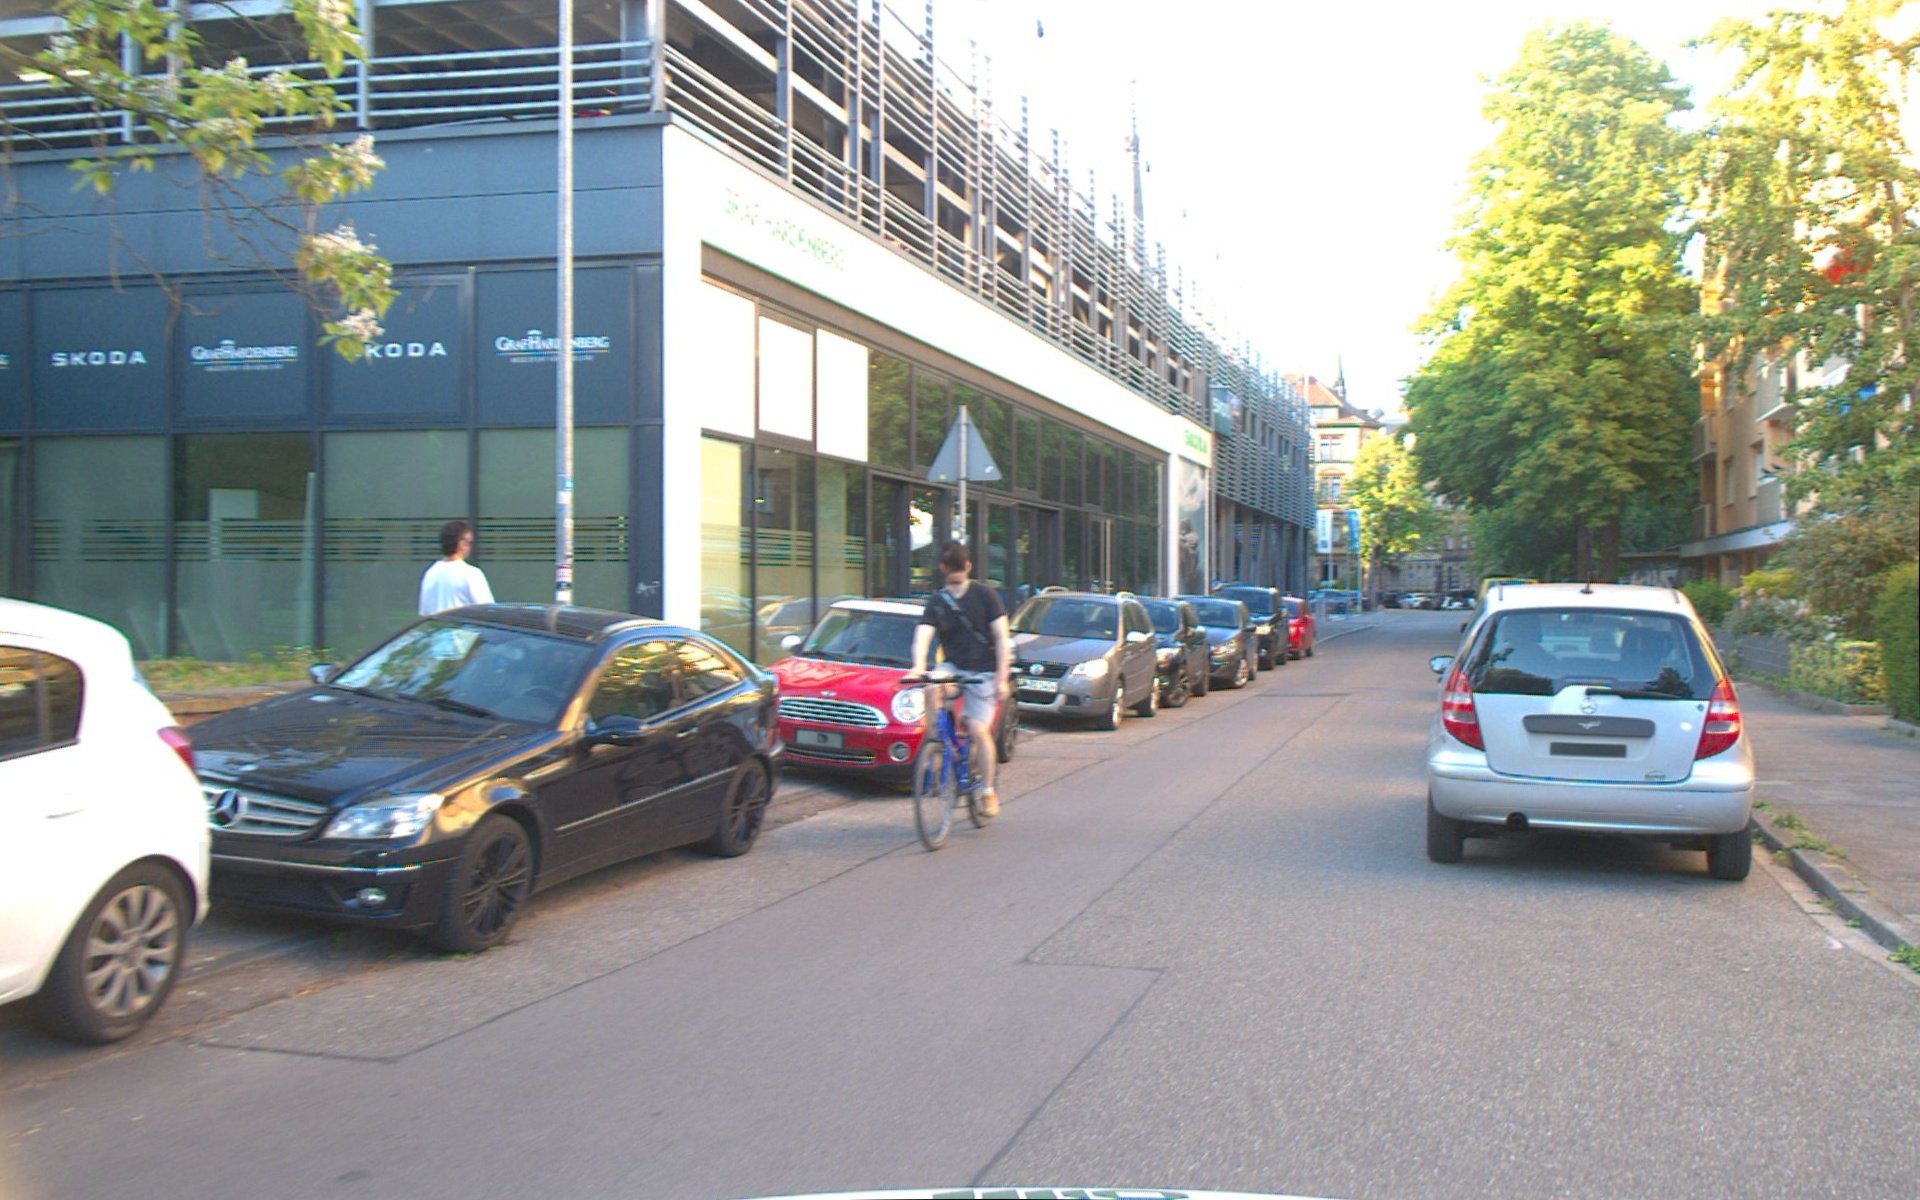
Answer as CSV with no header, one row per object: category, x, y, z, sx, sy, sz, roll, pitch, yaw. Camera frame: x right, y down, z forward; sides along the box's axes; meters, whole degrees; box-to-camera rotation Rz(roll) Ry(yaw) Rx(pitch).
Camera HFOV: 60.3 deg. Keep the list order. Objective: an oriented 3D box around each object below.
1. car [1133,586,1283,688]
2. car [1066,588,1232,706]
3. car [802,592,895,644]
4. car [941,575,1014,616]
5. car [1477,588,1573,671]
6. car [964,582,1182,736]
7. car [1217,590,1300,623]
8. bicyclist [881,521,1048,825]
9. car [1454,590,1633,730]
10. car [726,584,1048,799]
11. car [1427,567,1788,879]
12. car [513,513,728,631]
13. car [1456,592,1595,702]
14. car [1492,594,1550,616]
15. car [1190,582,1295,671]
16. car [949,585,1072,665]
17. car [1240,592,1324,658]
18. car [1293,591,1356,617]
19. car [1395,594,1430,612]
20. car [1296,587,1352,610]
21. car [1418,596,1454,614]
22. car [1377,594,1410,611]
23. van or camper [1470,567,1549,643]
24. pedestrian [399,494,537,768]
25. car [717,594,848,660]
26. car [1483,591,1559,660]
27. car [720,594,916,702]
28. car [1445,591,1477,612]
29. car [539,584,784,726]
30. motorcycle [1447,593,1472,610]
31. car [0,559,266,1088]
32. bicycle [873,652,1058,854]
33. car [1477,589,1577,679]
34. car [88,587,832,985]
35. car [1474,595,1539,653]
car,4.494,0.592,29.459,1.897,1.624,4.207,0,1,19
car,2.886,0.617,24.501,1.693,1.426,4.009,5,2,16
car,-2.966,0.459,44.531,1.390,1.277,3.216,0,1,18
car,0.598,-0.157,53.689,1.390,1.277,3.528,0,1,18
car,11.773,0.569,34.634,1.754,1.590,4.196,0,0,17
car,1.470,0.624,20.061,1.627,1.523,3.886,5,2,18
car,14.764,0.330,81.783,3.902,1.614,1.861,0,-2,16
bicyclist,0.048,0.436,10.597,0.840,1.839,1.017,-1,1,14
car,6.750,0.617,19.361,1.771,1.441,3.898,0,0,18
car,-0.468,0.660,14.310,1.627,1.435,3.930,5,2,14
car,3.966,0.614,10.603,1.771,1.603,3.887,0,0,17
car,-5.158,-0.419,25.616,1.662,1.687,3.740,0,0,17
car,8.325,0.631,24.612,1.771,1.441,4.628,0,0,17
car,40.651,0.338,119.740,3.915,1.492,1.864,0,1,-29
car,6.145,0.507,35.613,1.662,1.787,4.406,0,0,17
car,1.205,0.516,37.185,1.662,1.687,4.412,0,0,17
car,8.002,0.585,40.894,1.662,1.532,3.793,0,0,17
car,25.084,0.269,113.790,4.042,1.646,1.915,2,1,16
car,39.814,0.263,145.570,1.622,1.456,4.164,0,1,-4
car,26.663,-0.134,121.048,3.959,1.501,1.922,2,1,14
car,40.470,0.416,140.697,1.623,1.456,3.985,0,1,-6
car,39.364,0.217,150.289,1.623,1.456,3.891,0,1,-6
van or camper,16.244,0.094,49.054,2.020,2.132,5.094,0,1,16
pedestrian,-3.547,0.211,11.948,0.706,1.911,0.620,0,1,19
car,-4.161,0.597,39.362,1.662,1.459,3.922,0,0,17
car,13.223,0.568,39.105,1.576,1.537,3.480,0,0,17
car,-2.160,0.697,26.351,1.662,1.541,4.194,0,0,17
car,44.852,0.158,148.139,1.642,1.813,3.011,0,1,-6
car,-3.808,0.642,21.766,1.559,1.679,3.879,0,0,17
motorcycle,41.351,0.122,136.952,1.890,1.364,0.578,0,1,7
car,-3.786,0.664,4.393,1.626,1.540,3.888,3,2,12
bicycle,0.080,0.928,10.588,0.743,1.116,1.866,-2,0,13
car,10.189,0.568,29.915,1.576,1.487,4.056,0,0,17
car,-2.289,0.728,8.969,1.627,1.440,4.417,5,2,16
car,14.558,0.614,44.001,1.573,1.406,4.002,0,1,19
